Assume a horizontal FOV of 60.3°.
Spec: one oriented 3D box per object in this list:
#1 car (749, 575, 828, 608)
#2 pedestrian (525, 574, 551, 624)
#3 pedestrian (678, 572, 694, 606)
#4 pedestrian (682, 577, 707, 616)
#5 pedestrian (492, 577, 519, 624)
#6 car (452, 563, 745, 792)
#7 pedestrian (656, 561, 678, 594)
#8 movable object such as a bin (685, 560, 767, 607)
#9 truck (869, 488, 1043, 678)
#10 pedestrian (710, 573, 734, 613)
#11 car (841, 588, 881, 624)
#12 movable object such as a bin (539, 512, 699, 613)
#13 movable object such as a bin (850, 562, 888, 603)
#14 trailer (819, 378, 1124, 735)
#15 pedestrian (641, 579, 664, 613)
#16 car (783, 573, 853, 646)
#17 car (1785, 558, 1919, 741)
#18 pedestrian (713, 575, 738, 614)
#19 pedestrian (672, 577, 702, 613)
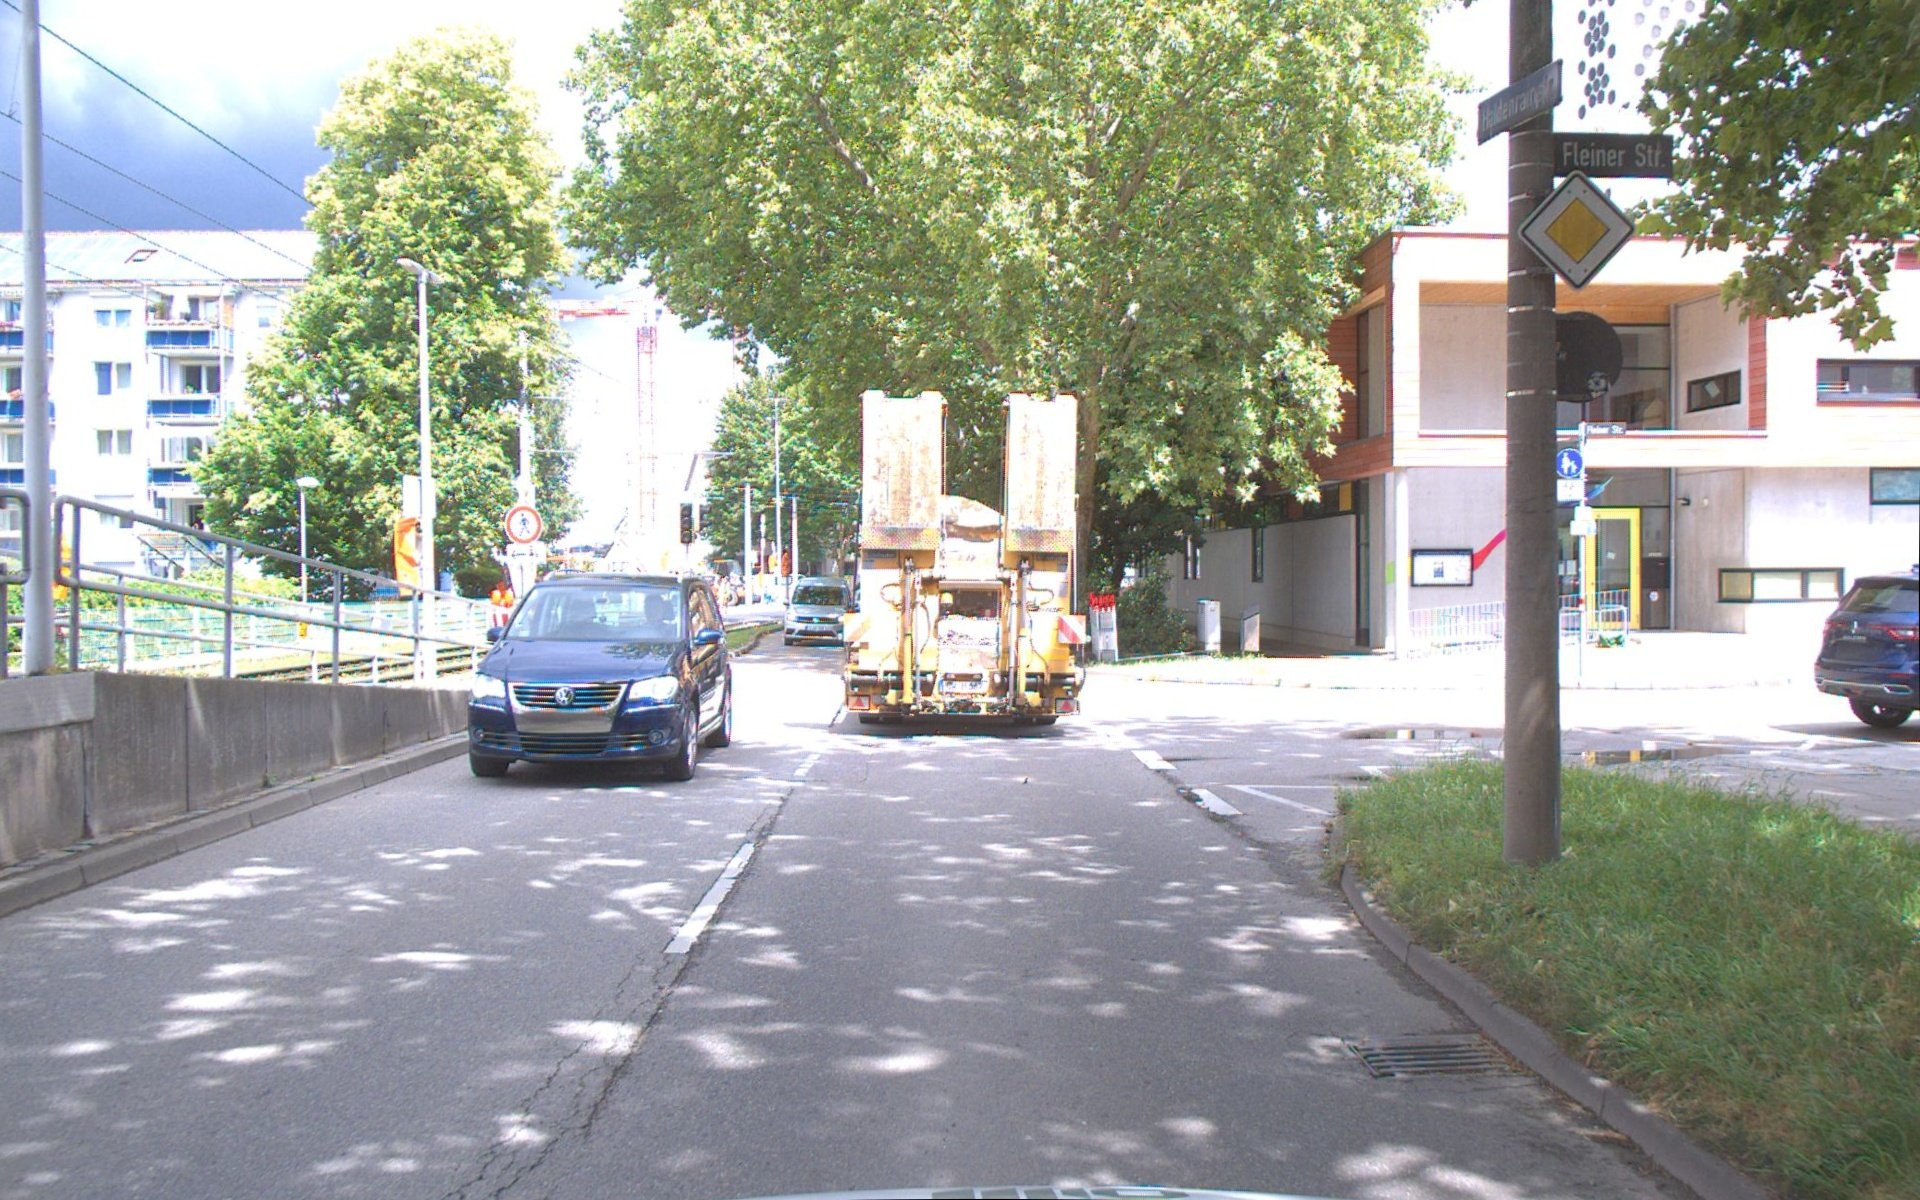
[{"bbox_3d":[-11.385,-0.563,109.705,5.006,2.139,1.968,0,0,-16],"label":"car"},{"bbox_3d":[-14.964,-0.050,58.646,0.685,1.748,0.867,1,0,-1],"label":"pedestrian"},{"bbox_3d":[-15.523,-0.617,93.639,0.820,1.900,0.885,1,0,-13],"label":"pedestrian"},{"bbox_3d":[-12.452,-0.163,77.675,0.867,1.791,0.837,1,0,19],"label":"pedestrian"},{"bbox_3d":[-15.916,0.014,57.942,0.717,1.654,0.867,0,0,-1],"label":"pedestrian"},{"bbox_3d":[-2.945,0.573,14.324,1.718,1.662,4.117,1,0,-2],"label":"car"},{"bbox_3d":[-14.790,-1.126,83.498,0.874,1.673,0.830,0,0,-26],"label":"pedestrian"},{"bbox_3d":[-13.779,-0.971,97.345,4.280,2.675,2.218,0,0,25],"label":"movable object such as a bin"},{"bbox_3d":[-0.171,-0.305,31.929,2.929,3.190,7.885,0,0,-2],"label":"truck"},{"bbox_3d":[-11.411,-0.328,79.391,0.876,1.900,0.829,0,0,-30],"label":"pedestrian"},{"bbox_3d":[-4.107,0.230,68.817,1.603,1.460,3.849,0,1,-3],"label":"car"},{"bbox_3d":[-19.163,-2.075,92.833,9.020,5.509,2.662,0,0,26],"label":"movable object such as a bin"},{"bbox_3d":[-4.666,-0.879,84.937,1.369,2.049,2.558,1,0,10],"label":"movable object such as a bin"},{"bbox_3d":[0.040,-0.464,22.440,3.090,3.615,11.095,0,0,-1],"label":"trailer"},{"bbox_3d":[-15.222,-0.221,81.921,0.876,1.673,0.890,0,0,-31],"label":"pedestrian"},{"bbox_3d":[-3.838,0.255,45.174,1.718,1.873,4.643,1,0,-3],"label":"car"},{"bbox_3d":[11.073,0.394,17.147,4.102,1.711,2.009,-3,1,-9],"label":"car"},{"bbox_3d":[-11.624,-0.286,81.924,0.868,1.900,0.836,1,0,28],"label":"pedestrian"},{"bbox_3d":[-13.158,-0.235,79.756,0.873,1.745,1.103,1,0,44],"label":"pedestrian"}]
